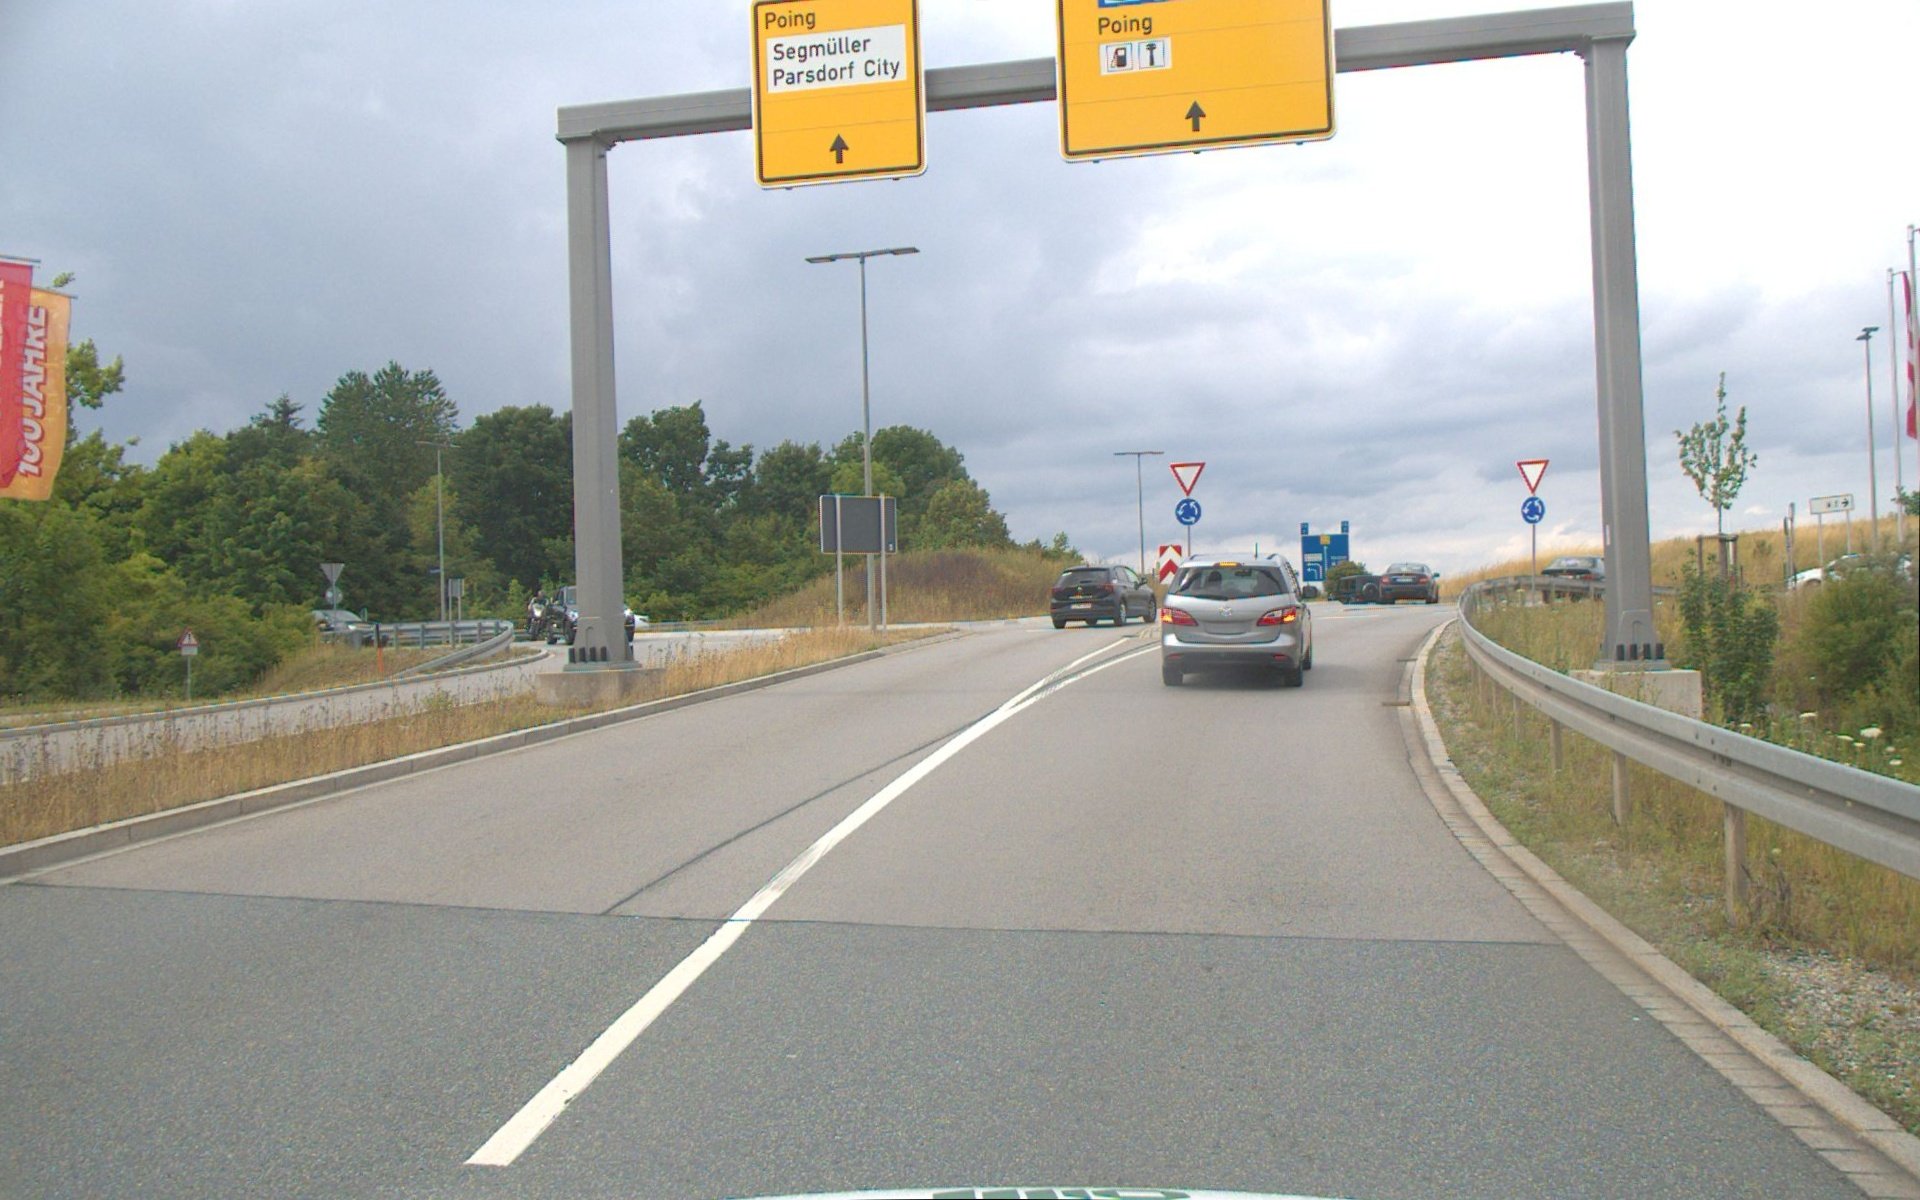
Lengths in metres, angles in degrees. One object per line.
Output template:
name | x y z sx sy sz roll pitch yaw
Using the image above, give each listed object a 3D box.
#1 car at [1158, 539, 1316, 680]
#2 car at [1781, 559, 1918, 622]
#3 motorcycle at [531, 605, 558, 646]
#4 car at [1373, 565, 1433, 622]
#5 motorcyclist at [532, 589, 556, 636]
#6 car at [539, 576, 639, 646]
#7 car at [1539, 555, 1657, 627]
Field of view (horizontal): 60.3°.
car | 3.661 0.055 21.376 1.729 1.644 3.925 0 2 14
car | 31.720 -0.319 59.092 3.953 2.049 1.796 -3 0 17
motorcycle | -14.019 0.861 55.777 0.737 1.324 2.474 -2 0 -16
car | 15.173 -0.225 56.575 1.856 1.814 4.160 -2 0 15
motorcyclist | -13.951 0.426 55.484 0.718 1.553 0.653 -2 0 -17
car | -10.228 0.310 45.416 1.830 1.693 4.131 -5 1 -24
car | 18.168 -0.273 47.013 1.631 1.870 3.929 -3 0 45
